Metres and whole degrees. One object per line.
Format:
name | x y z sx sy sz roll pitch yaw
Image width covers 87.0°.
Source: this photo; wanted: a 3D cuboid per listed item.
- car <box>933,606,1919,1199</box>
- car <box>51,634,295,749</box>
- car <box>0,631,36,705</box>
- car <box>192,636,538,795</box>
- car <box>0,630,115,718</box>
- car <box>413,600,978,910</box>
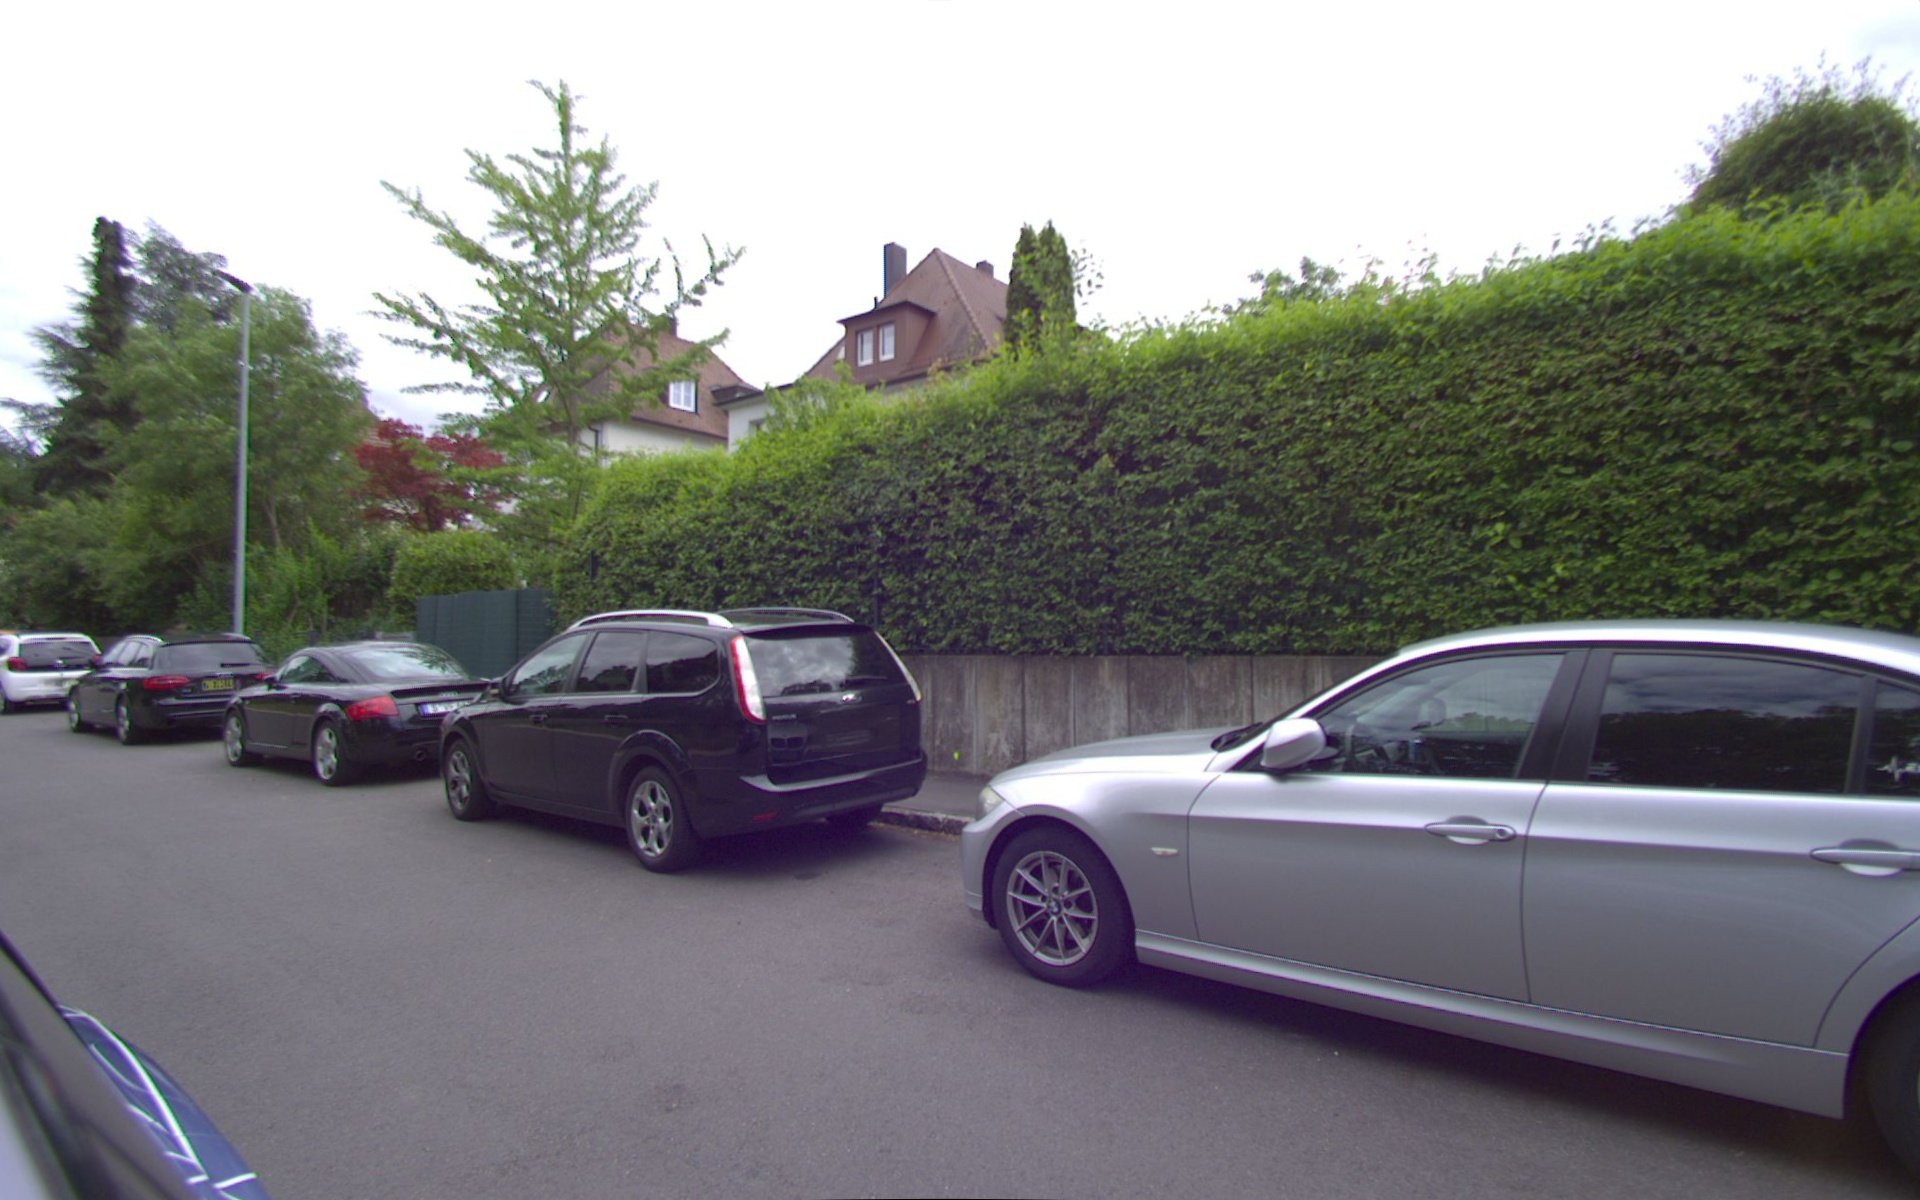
car | 2.122 0.733 3.539 4.335 1.384 1.757 -2 -1 39
car | -11.448 1.206 14.609 4.656 1.395 1.702 -2 -2 38
car | -21.607 1.450 21.896 3.633 1.526 1.531 -1 -2 33
car | -6.419 1.077 10.761 4.099 1.351 1.696 -2 -1 36
car | -17.698 1.342 19.272 3.582 1.526 1.574 -1 -2 35
car | -2.111 0.821 7.151 4.472 1.545 1.639 -2 -1 41
